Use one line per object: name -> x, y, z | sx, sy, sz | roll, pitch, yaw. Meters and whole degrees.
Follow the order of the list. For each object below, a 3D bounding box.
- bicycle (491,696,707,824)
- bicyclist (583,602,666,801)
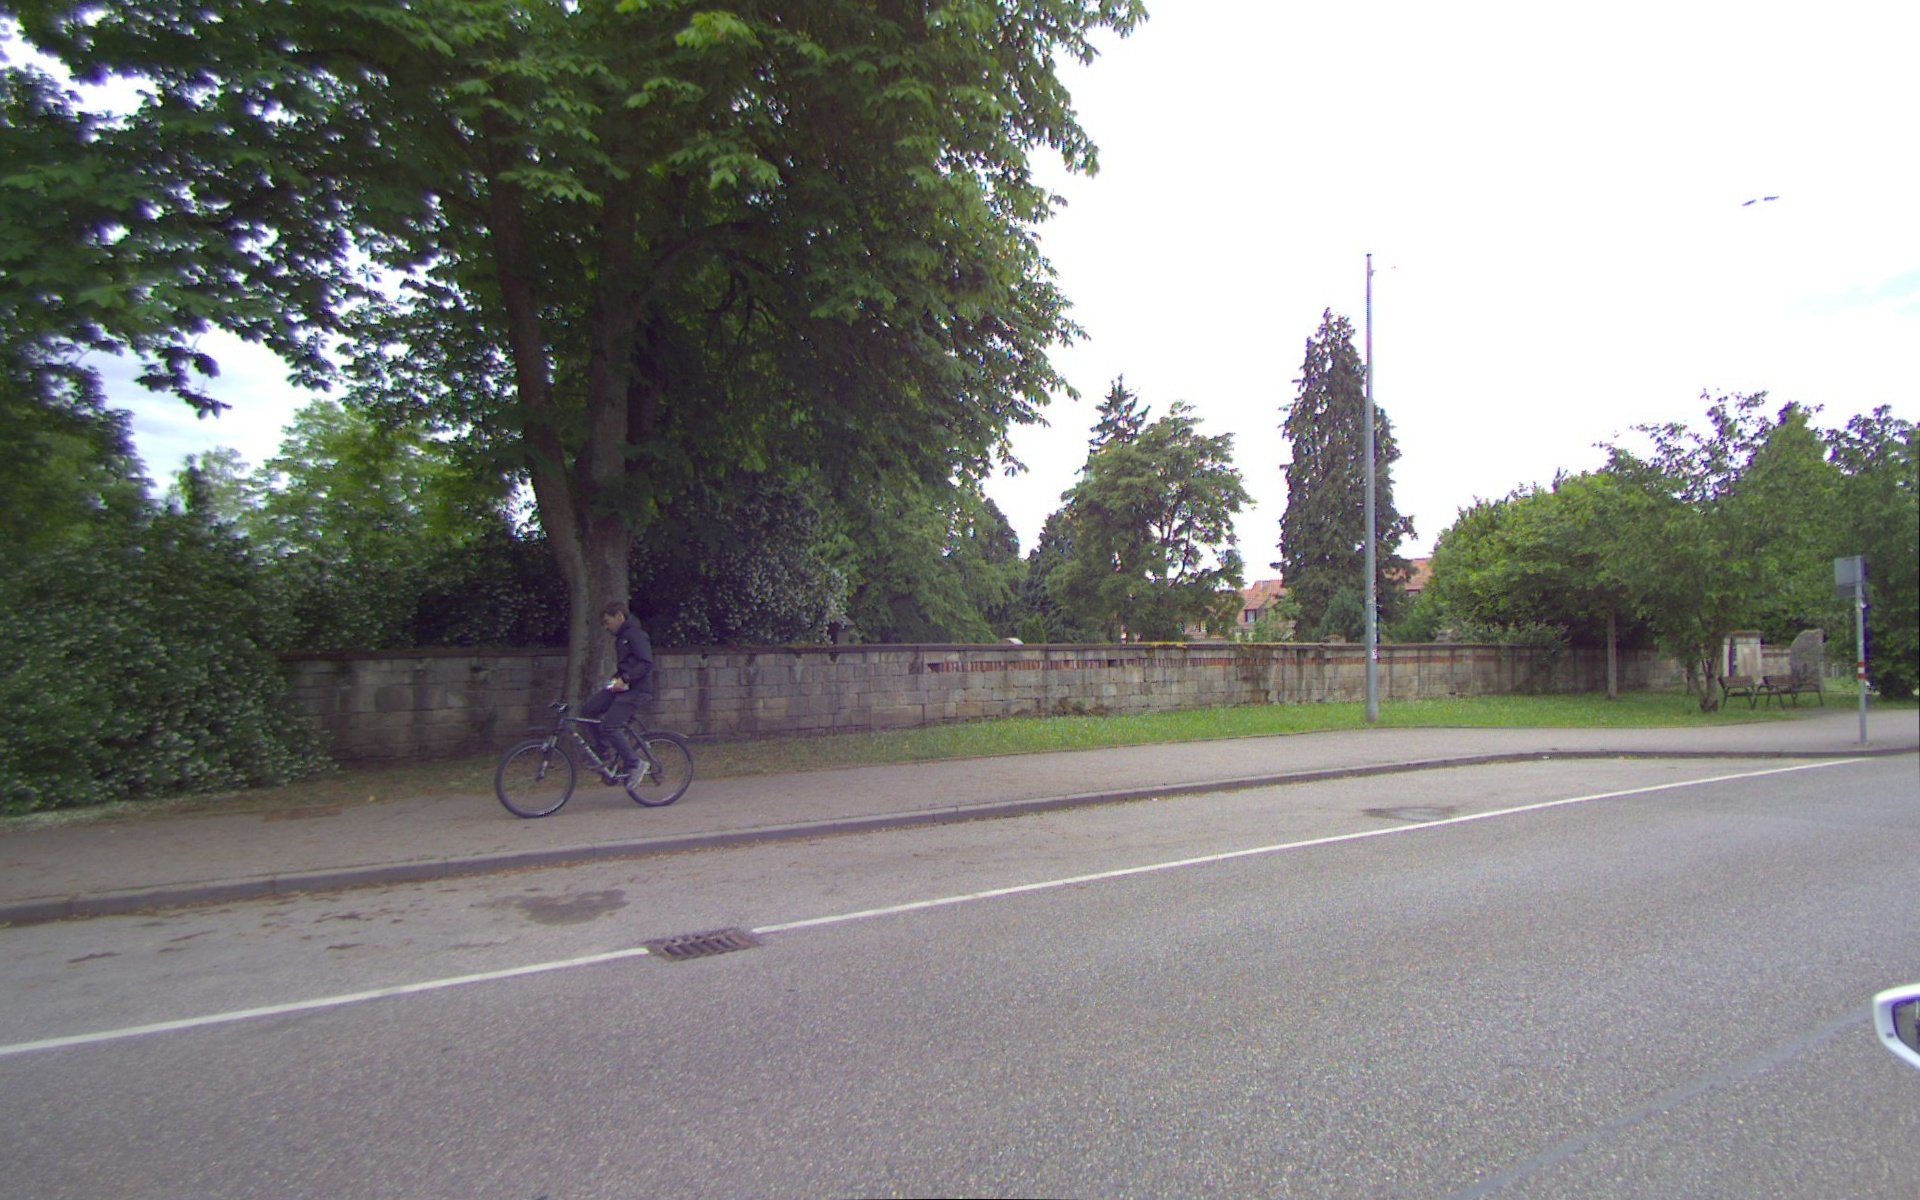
bicycle -> -3.179, 1.378, 8.905 | 1.728, 0.977, 0.493 | 2, 0, -31
bicyclist -> -3.007, 0.880, 8.996 | 0.581, 1.706, 0.485 | 2, 0, -30
